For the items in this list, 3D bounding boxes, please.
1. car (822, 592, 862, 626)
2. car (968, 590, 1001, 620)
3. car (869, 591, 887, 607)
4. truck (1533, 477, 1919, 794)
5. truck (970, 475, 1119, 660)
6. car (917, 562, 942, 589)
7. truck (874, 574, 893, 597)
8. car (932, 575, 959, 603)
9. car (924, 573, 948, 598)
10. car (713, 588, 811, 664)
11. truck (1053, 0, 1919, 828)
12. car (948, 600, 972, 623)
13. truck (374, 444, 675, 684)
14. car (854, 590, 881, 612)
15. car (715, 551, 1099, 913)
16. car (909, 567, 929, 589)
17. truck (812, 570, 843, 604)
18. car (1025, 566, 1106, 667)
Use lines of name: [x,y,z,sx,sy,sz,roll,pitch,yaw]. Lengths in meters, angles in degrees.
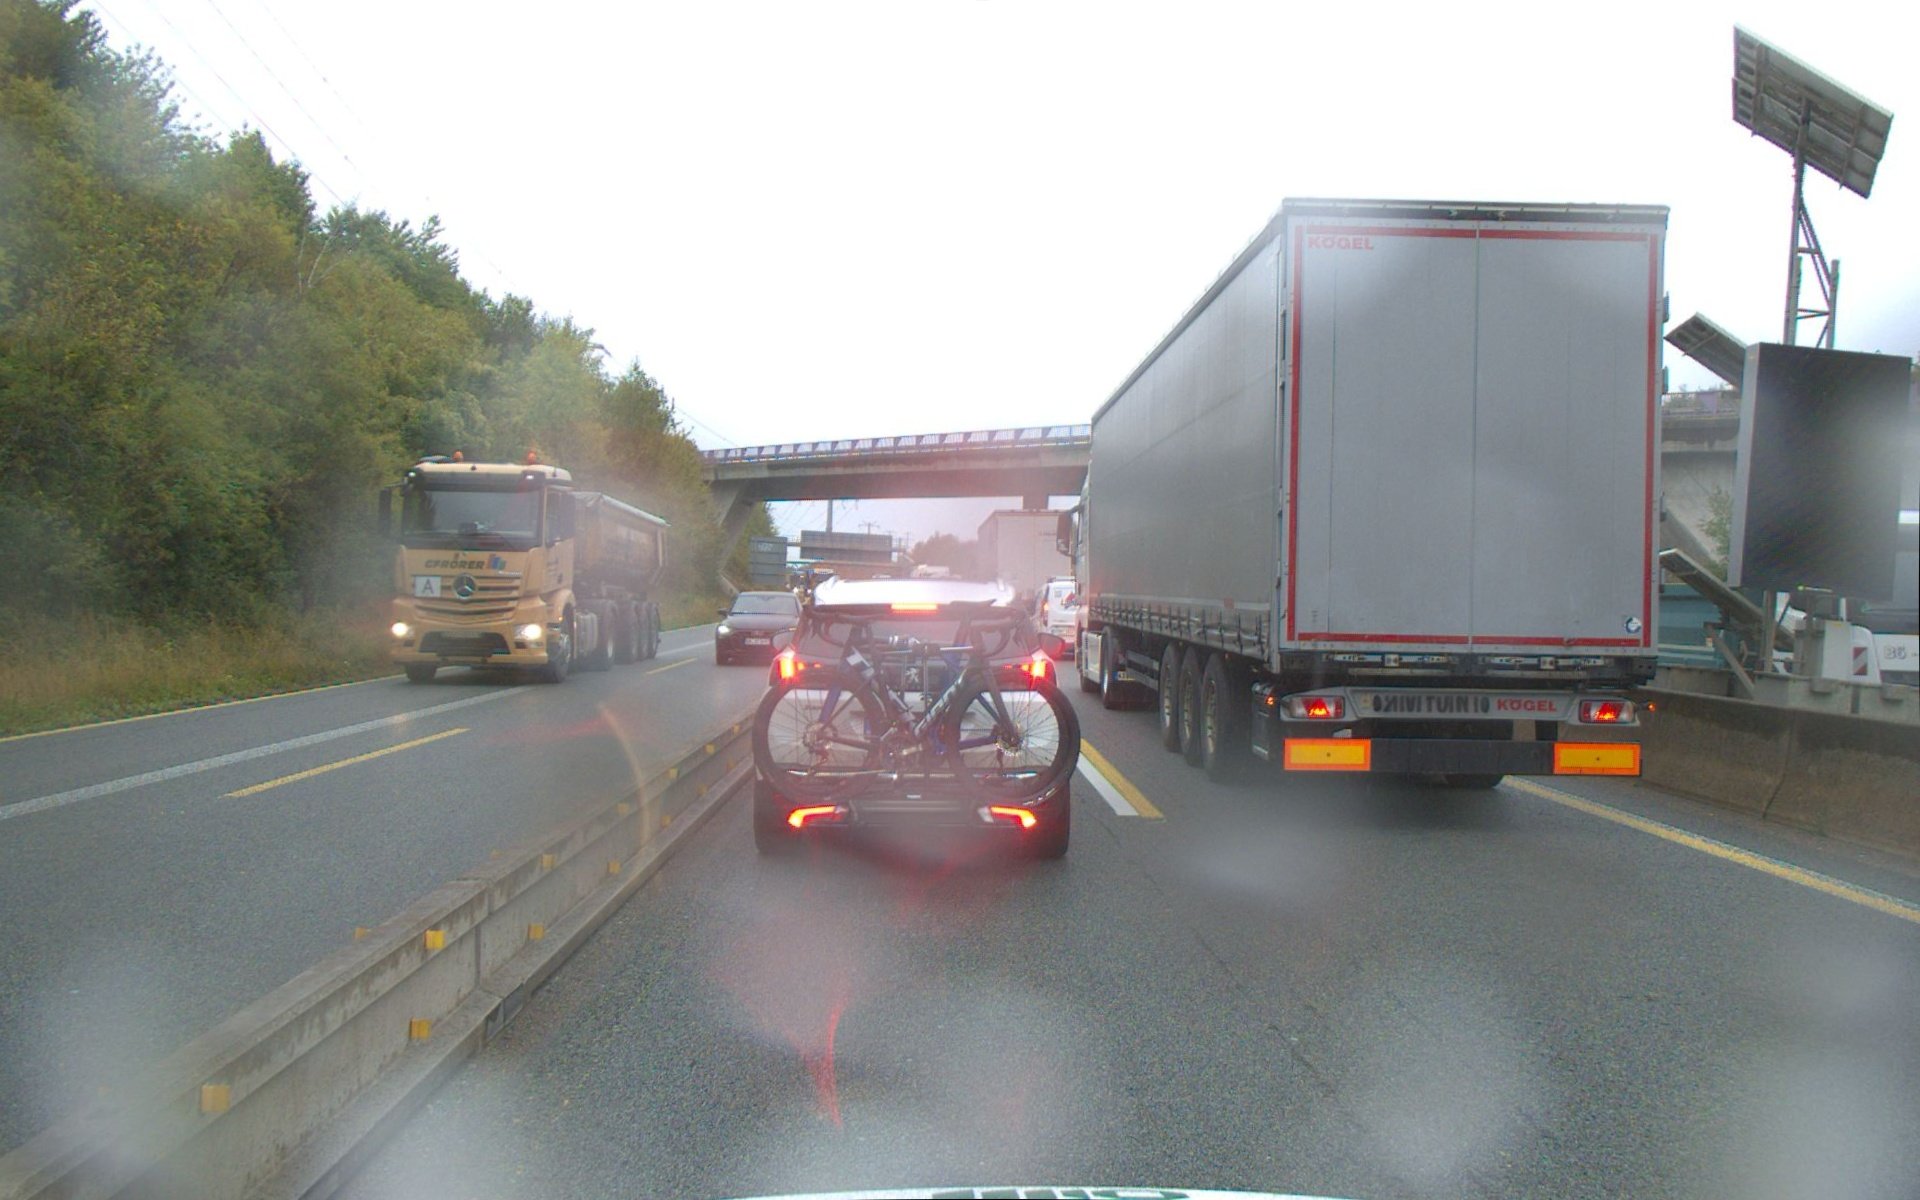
car: [-5.751,0.417,81.038,1.773,1.586,3.988,1,0,-2]
car: [1.279,0.251,86.586,1.605,1.524,3.665,1,0,-1]
car: [-7.562,-0.111,153.209,1.652,1.434,3.928,1,0,-2]
truck: [10.230,0.377,21.215,2.469,3.186,9.117,1,0,-1]
truck: [2.763,-1.005,62.450,4.645,5.772,20.376,1,0,0]
car: [-2.730,-2.180,149.994,2.193,2.347,4.571,1,0,-1]
truck: [-11.467,-2.153,248.662,2.484,3.411,12.046,1,0,-1]
car: [-1.094,-0.817,126.212,1.953,2.049,3.999,1,0,-1]
car: [-2.009,-1.171,137.566,1.953,2.049,3.999,1,0,-1]
car: [-3.968,0.494,33.652,1.652,1.434,3.928,1,0,-2]
truck: [3.769,-1.524,20.144,3.898,5.772,20.372,1,0,-1]
car: [-0.007,0.770,113.191,1.605,1.524,3.665,1,0,-1]
truck: [-7.307,-0.510,29.855,2.484,3.411,12.046,1,0,-1]
car: [-6.585,0.076,118.371,1.773,1.514,4.395,1,0,-2]
car: [-0.226,0.621,10.052,1.773,1.666,4.635,1,0,0]
car: [-4.101,-2.172,166.395,1.953,2.164,4.526,1,0,-1]
truck: [-15.174,-1.410,190.410,2.627,3.720,12.310,1,0,-1]
car: [2.436,0.379,39.003,1.635,2.218,4.535,1,0,0]
